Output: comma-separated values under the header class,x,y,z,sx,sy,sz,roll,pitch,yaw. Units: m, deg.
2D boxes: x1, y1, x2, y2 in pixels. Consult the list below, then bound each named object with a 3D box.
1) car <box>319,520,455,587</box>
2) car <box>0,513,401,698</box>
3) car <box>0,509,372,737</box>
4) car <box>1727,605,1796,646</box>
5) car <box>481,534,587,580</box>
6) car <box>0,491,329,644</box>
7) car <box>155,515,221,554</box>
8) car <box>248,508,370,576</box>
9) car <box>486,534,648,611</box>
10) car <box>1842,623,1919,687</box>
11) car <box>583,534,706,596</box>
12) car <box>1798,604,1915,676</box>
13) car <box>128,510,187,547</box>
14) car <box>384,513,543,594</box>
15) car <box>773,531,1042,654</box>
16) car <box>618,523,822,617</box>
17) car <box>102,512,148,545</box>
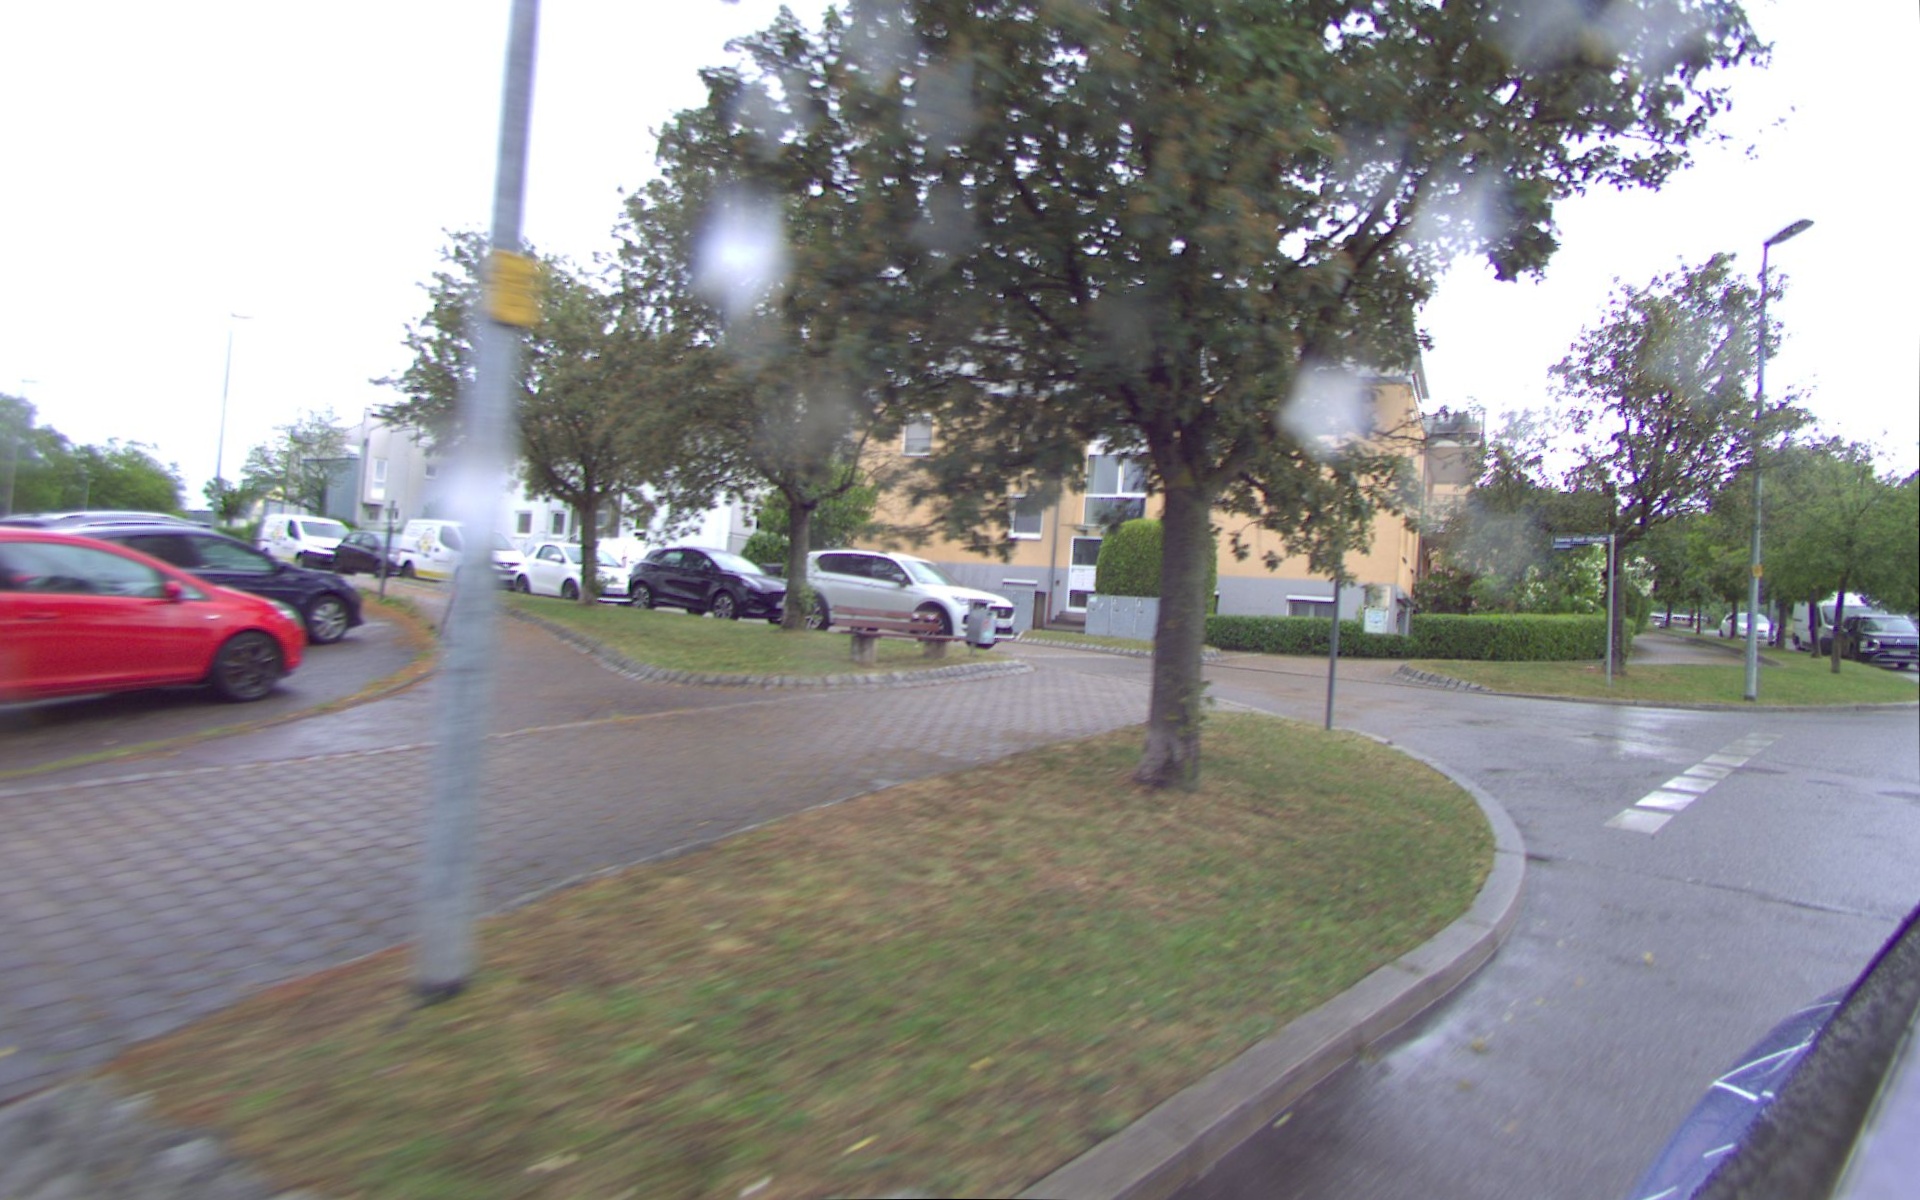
class,x,y,z,sx,sy,sz,roll,pitch,yaw
car,-17.036,-1.387,30.053,3.994,1.754,1.930,3,-1,35
car,-9.242,-0.156,11.914,1.832,1.602,4.814,3,6,15
car,-7.322,0.076,8.201,1.835,1.603,4.301,3,4,19
car,39.815,1.237,50.386,1.807,1.807,3.786,3,2,26
car,-17.691,-1.760,42.153,1.769,1.670,3.735,5,2,30
car,-11.614,-0.508,14.434,1.831,1.820,4.444,1,3,13
car,-38.976,-3.320,51.041,3.987,1.721,1.902,6,2,42
car,-21.489,-1.917,33.382,4.133,1.994,1.930,3,-1,36
car,-9.645,-0.685,24.759,3.805,1.689,1.812,3,1,34
car,29.556,1.702,32.079,1.806,1.748,4.594,3,2,35
car,-11.737,-1.284,37.846,1.988,2.038,3.950,5,2,34
car,32.725,1.398,37.130,2.037,2.360,5.349,3,1,30
car,-43.669,-3.885,55.018,3.987,1.762,1.875,6,2,42
car,-13.580,-1.284,27.602,4.394,1.953,1.907,3,-1,35
car,-1.039,-0.205,18.802,4.683,1.836,1.924,5,2,33
car,-5.151,-0.660,21.592,3.990,1.754,1.933,3,-1,32
car,-54.380,-4.625,65.861,2.155,1.898,3.995,3,1,-41
